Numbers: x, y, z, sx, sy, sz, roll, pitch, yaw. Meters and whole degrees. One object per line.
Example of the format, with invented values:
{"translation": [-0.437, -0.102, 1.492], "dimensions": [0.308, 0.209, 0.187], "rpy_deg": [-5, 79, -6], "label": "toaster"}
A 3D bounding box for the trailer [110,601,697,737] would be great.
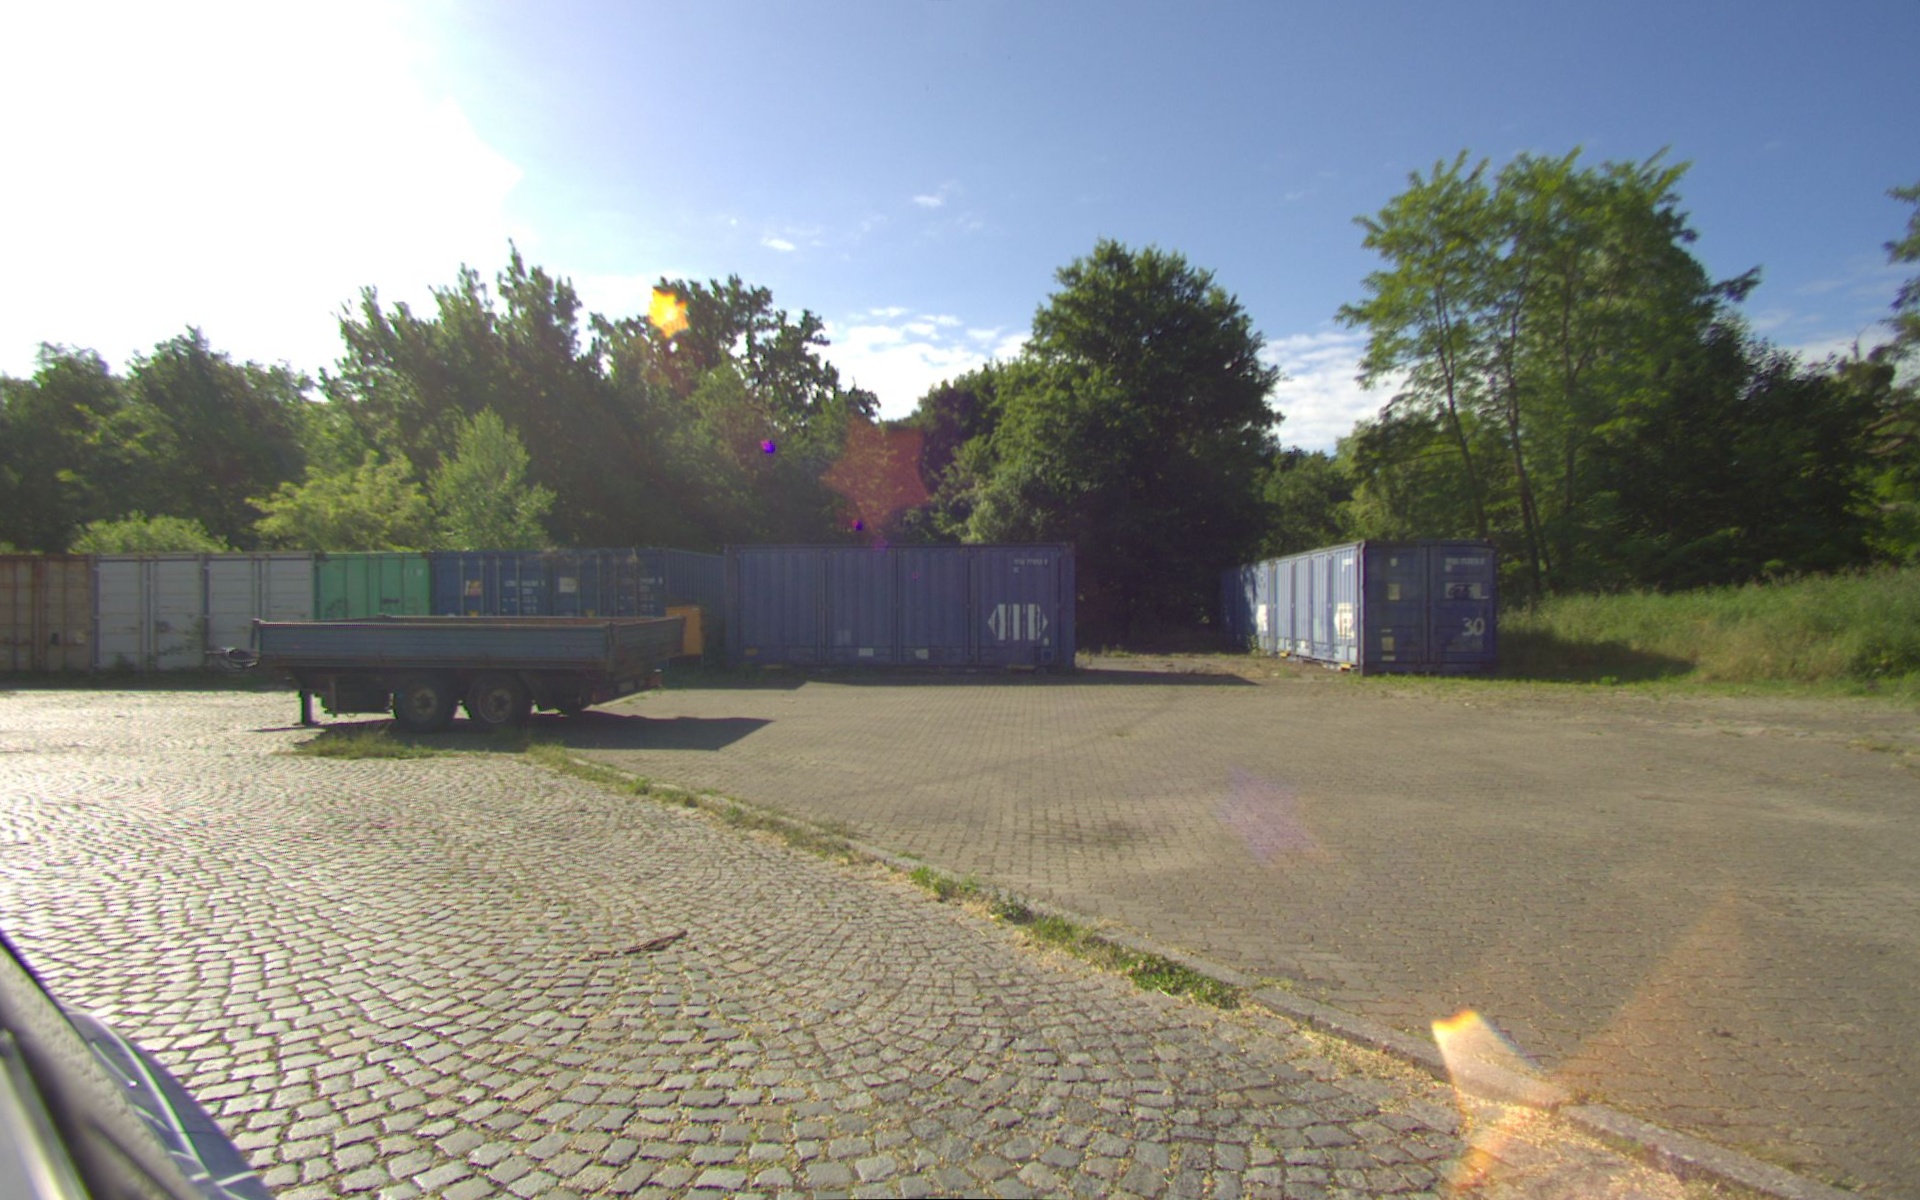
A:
{"translation": [-7.129, 0.850, 13.569], "dimensions": [6.410, 1.529, 2.852], "rpy_deg": [-1, 0, 5], "label": "trailer"}
